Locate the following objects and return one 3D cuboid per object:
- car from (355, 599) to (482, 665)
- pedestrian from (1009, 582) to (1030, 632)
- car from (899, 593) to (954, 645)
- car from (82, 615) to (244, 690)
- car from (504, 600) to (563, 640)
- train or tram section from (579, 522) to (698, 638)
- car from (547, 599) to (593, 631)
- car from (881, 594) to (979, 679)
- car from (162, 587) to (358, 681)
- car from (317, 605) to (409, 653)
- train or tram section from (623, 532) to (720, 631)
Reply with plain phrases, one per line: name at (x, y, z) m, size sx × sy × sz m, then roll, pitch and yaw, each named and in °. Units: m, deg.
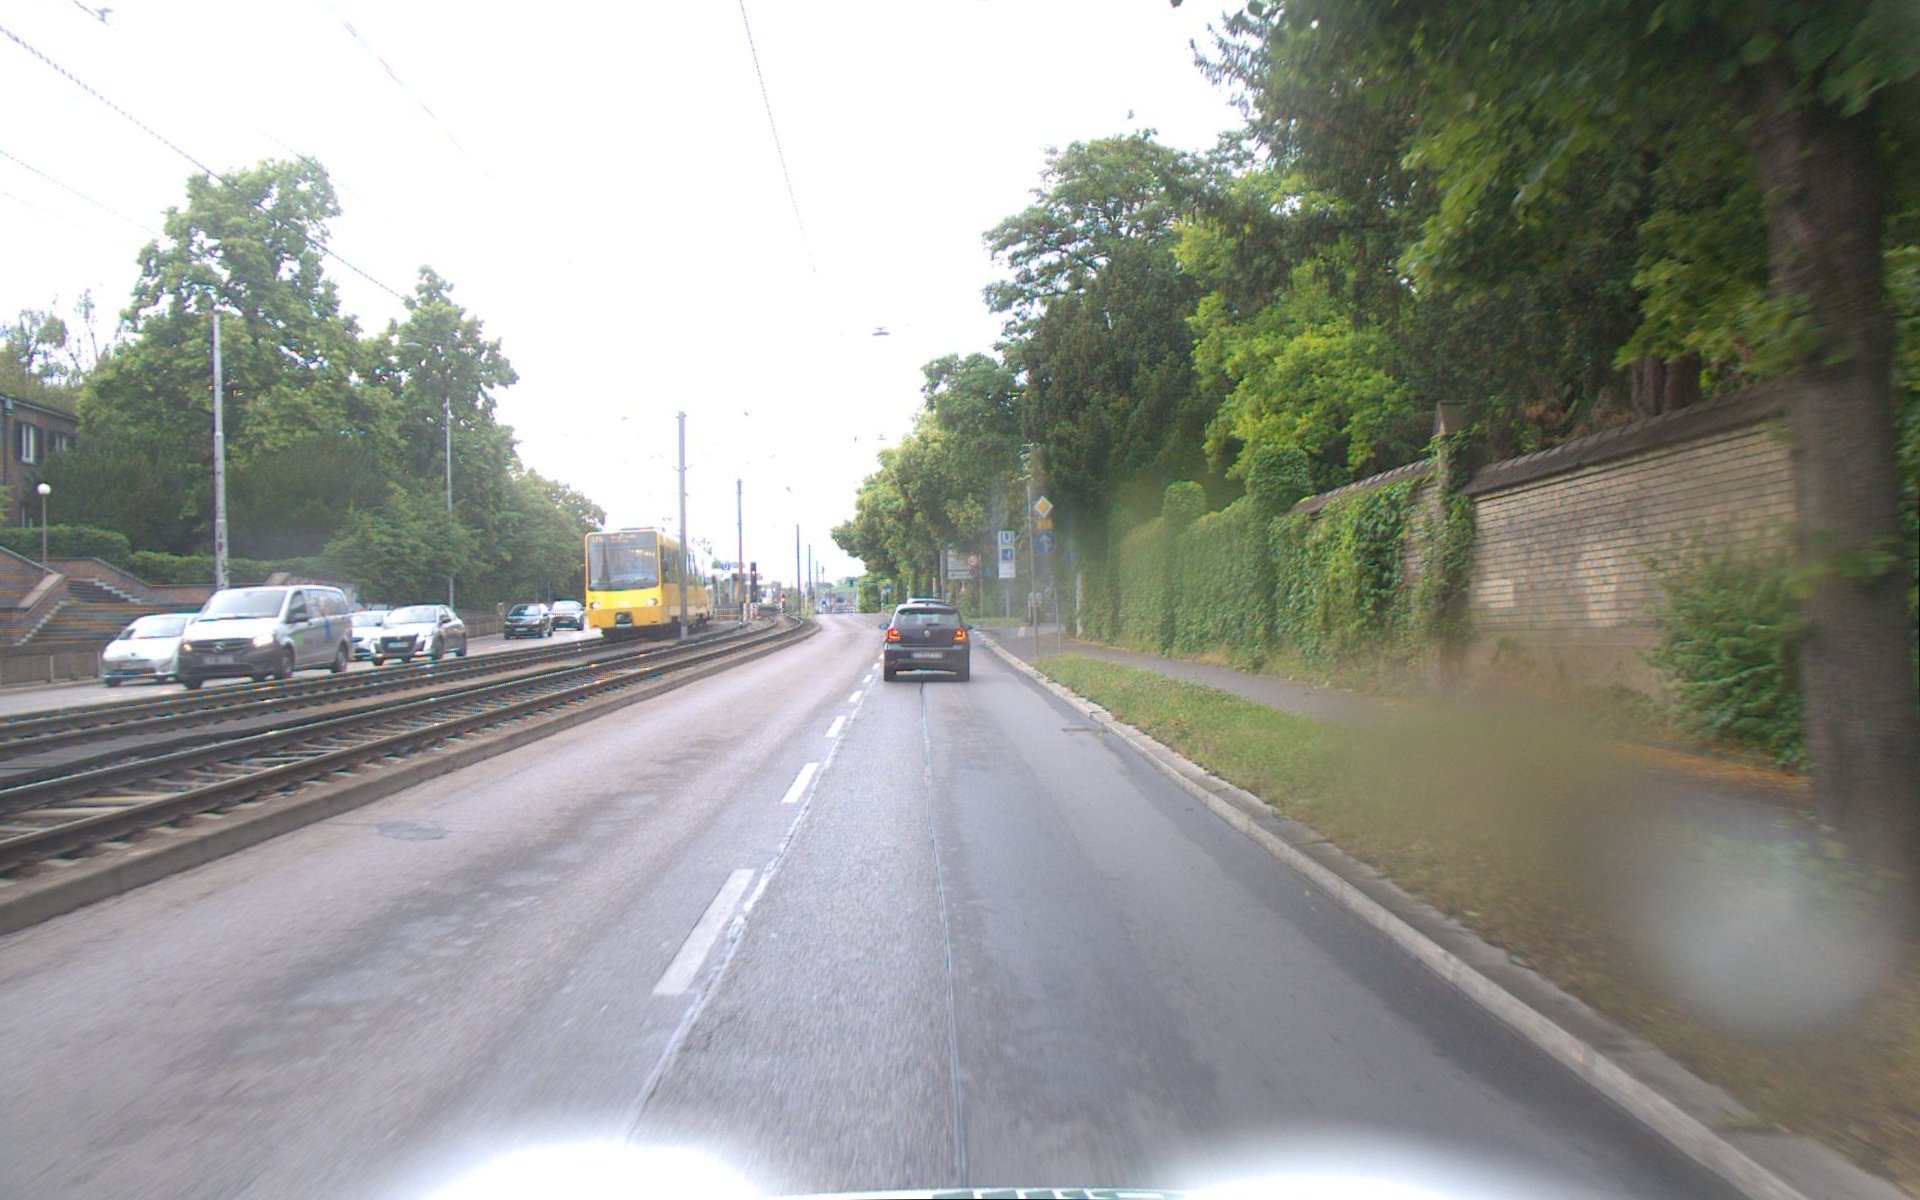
car at (-13.970, 0.790, 42.951) m, size 1.953 × 1.603 × 4.533 m, roll 0°, pitch 0°, yaw -2°
pedestrian at (3.595, 0.418, 99.957) m, size 1.140 × 3.029 × 0.947 m, roll 0°, pitch 0°, yaw -3°
car at (-1.056, 0.560, 52.069) m, size 1.642 × 1.557 × 3.721 m, roll -1°, pitch 0°, yaw -1°
car at (-17.101, 1.083, 35.691) m, size 1.693 × 1.469 × 3.998 m, roll 0°, pitch 0°, yaw -2°
car at (-18.728, 0.855, 72.739) m, size 1.699 × 1.691 × 3.998 m, roll 0°, pitch 0°, yaw -2°
train or tram section at (-10.936, -0.664, 57.127) m, size 2.776 × 3.668 × 9.264 m, roll 0°, pitch 0°, yaw -3°
car at (-21.633, 0.823, 91.791) m, size 1.757 × 1.691 × 3.998 m, roll 0°, pitch 0°, yaw -2°
car at (-0.646, 0.658, 32.264) m, size 1.758 × 1.511 × 3.962 m, roll 1°, pitch 1°, yaw -3°
car at (-13.503, 0.601, 32.278) m, size 1.954 × 1.691 × 5.122 m, roll 0°, pitch 0°, yaw -4°
car at (-17.798, 0.848, 49.458) m, size 1.527 × 1.362 × 3.647 m, roll 0°, pitch 0°, yaw -2°
train or tram section at (-11.441, -0.721, 66.362) m, size 2.776 × 3.668 × 9.264 m, roll 0°, pitch 0°, yaw -3°
